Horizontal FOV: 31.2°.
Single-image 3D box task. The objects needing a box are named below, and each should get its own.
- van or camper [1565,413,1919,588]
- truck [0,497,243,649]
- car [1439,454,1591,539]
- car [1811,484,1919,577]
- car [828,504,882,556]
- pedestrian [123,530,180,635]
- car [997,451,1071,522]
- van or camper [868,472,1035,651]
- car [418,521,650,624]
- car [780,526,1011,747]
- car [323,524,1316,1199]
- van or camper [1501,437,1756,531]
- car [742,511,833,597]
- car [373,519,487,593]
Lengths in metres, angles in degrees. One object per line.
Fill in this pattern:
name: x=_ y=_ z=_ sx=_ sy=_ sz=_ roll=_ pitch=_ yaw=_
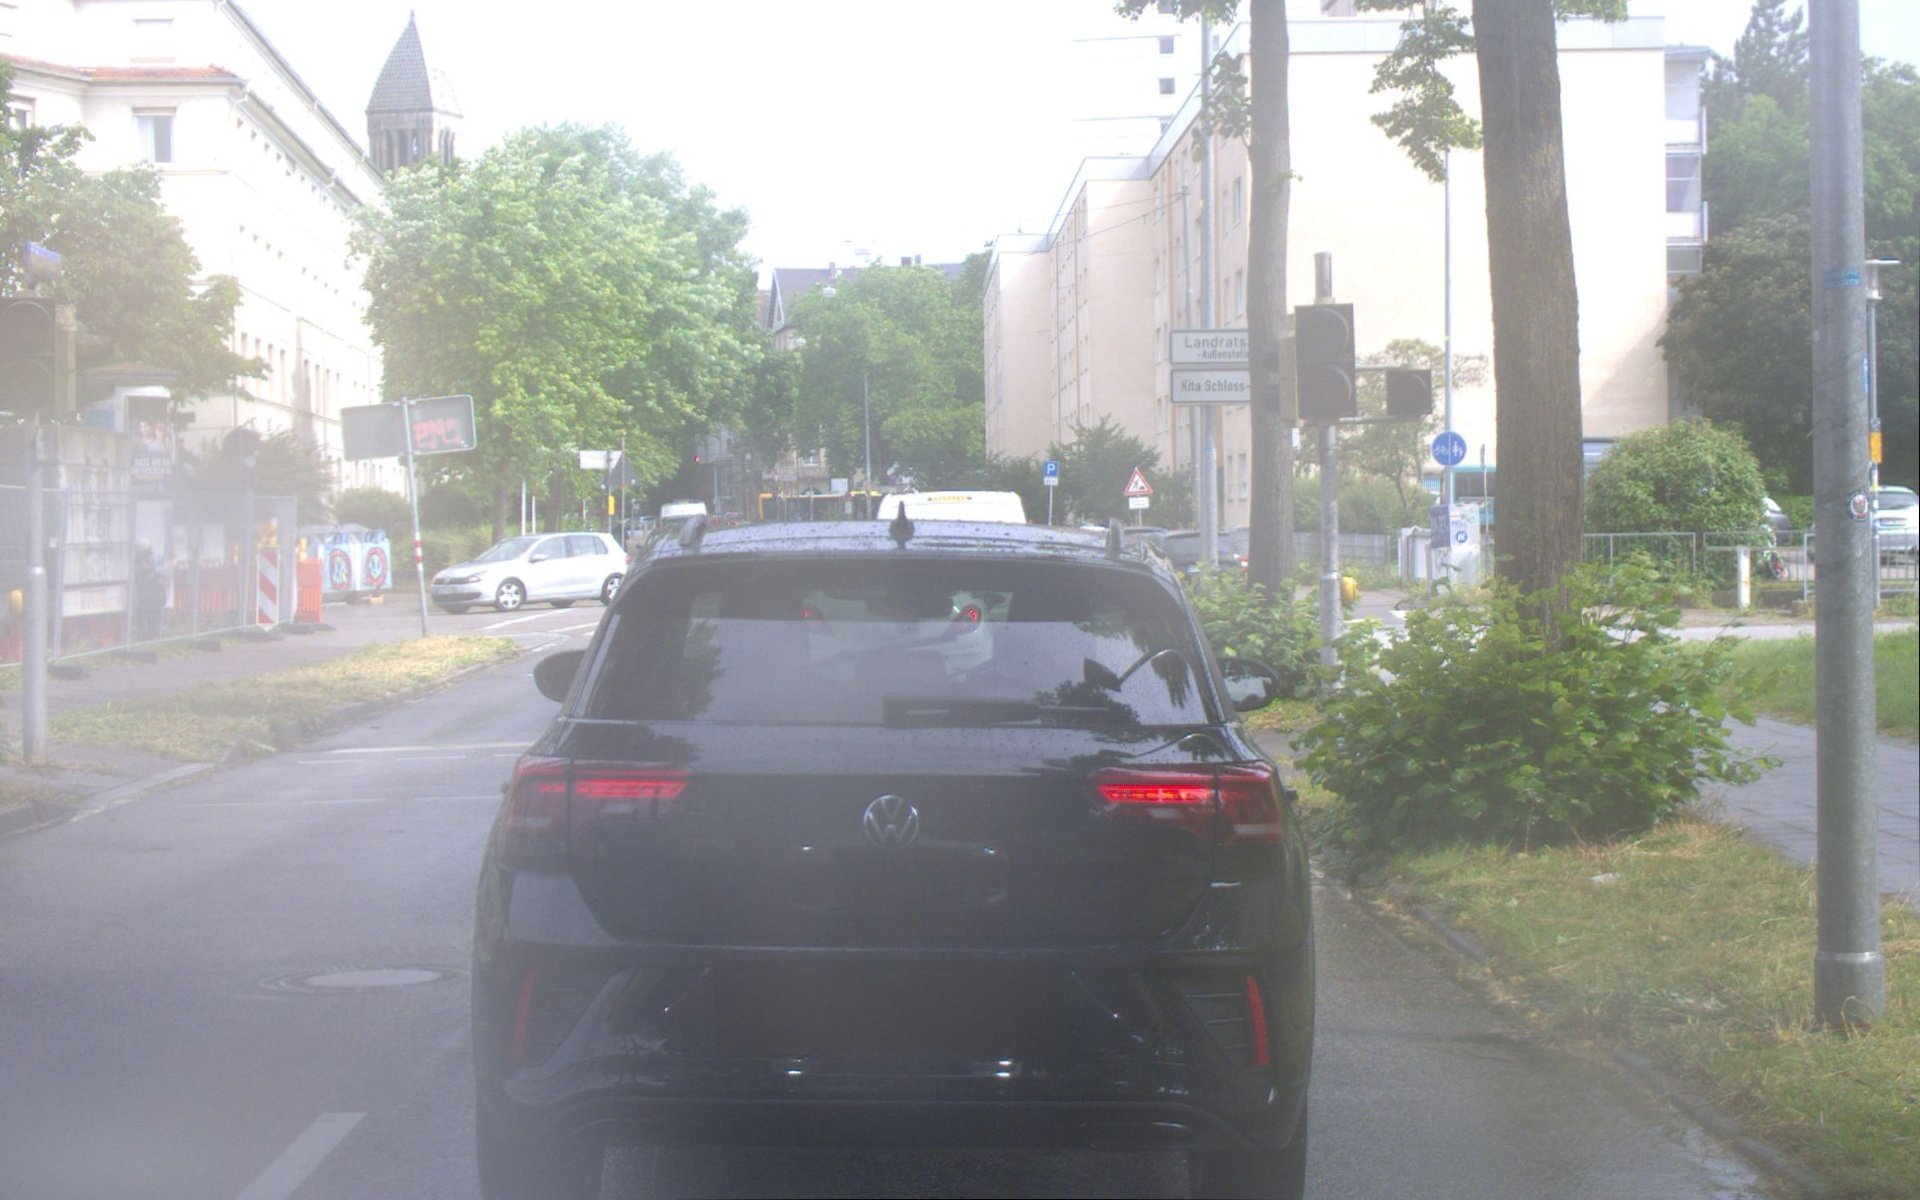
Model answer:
van or camper: x=12.272 y=-1.558 z=54.130 sx=5.032 sy=2.587 sz=2.168 roll=-1 pitch=1 yaw=-1
truck: x=-17.450 y=-0.521 z=62.316 sx=8.215 sy=2.647 sz=2.814 roll=0 pitch=2 yaw=7
car: x=13.126 y=-2.441 z=81.383 sx=3.408 sy=1.775 sz=1.759 roll=-4 pitch=1 yaw=9
car: x=17.944 y=-1.373 z=67.504 sx=1.743 sy=1.678 sz=3.870 roll=-4 pitch=1 yaw=6
car: x=-3.310 y=-2.222 z=108.523 sx=1.591 sy=1.507 sz=3.732 roll=-4 pitch=1 yaw=-2
pedestrian: x=-11.620 y=-0.263 z=49.404 sx=0.660 sy=1.480 sz=0.673 roll=-1 pitch=2 yaw=-25
car: x=2.129 y=-3.272 z=99.640 sx=1.993 sy=2.007 sz=4.000 roll=0 pitch=1 yaw=-1
van or camper: x=-0.065 y=-0.476 z=39.486 sx=1.819 sy=1.941 sz=4.195 roll=0 pitch=2 yaw=1
car: x=-7.959 y=-0.511 z=64.188 sx=3.922 sy=1.645 sz=1.760 roll=-4 pitch=1 yaw=-19
car: x=-0.496 y=0.272 z=29.848 sx=1.680 sy=1.702 sz=3.909 roll=-3 pitch=1 yaw=3
car: x=-0.274 y=0.577 z=8.588 sx=1.895 sy=1.517 sz=4.000 roll=0 pitch=1 yaw=0
van or camper: x=13.852 y=-2.414 z=71.466 sx=4.874 sy=1.919 sz=2.131 roll=0 pitch=2 yaw=0
car: x=-3.745 y=-1.004 z=73.932 sx=1.789 sy=1.678 sz=4.487 roll=-4 pitch=1 yaw=-3
car: x=-11.932 y=-1.013 z=77.555 sx=1.591 sy=1.507 sz=3.731 roll=-4 pitch=1 yaw=5
